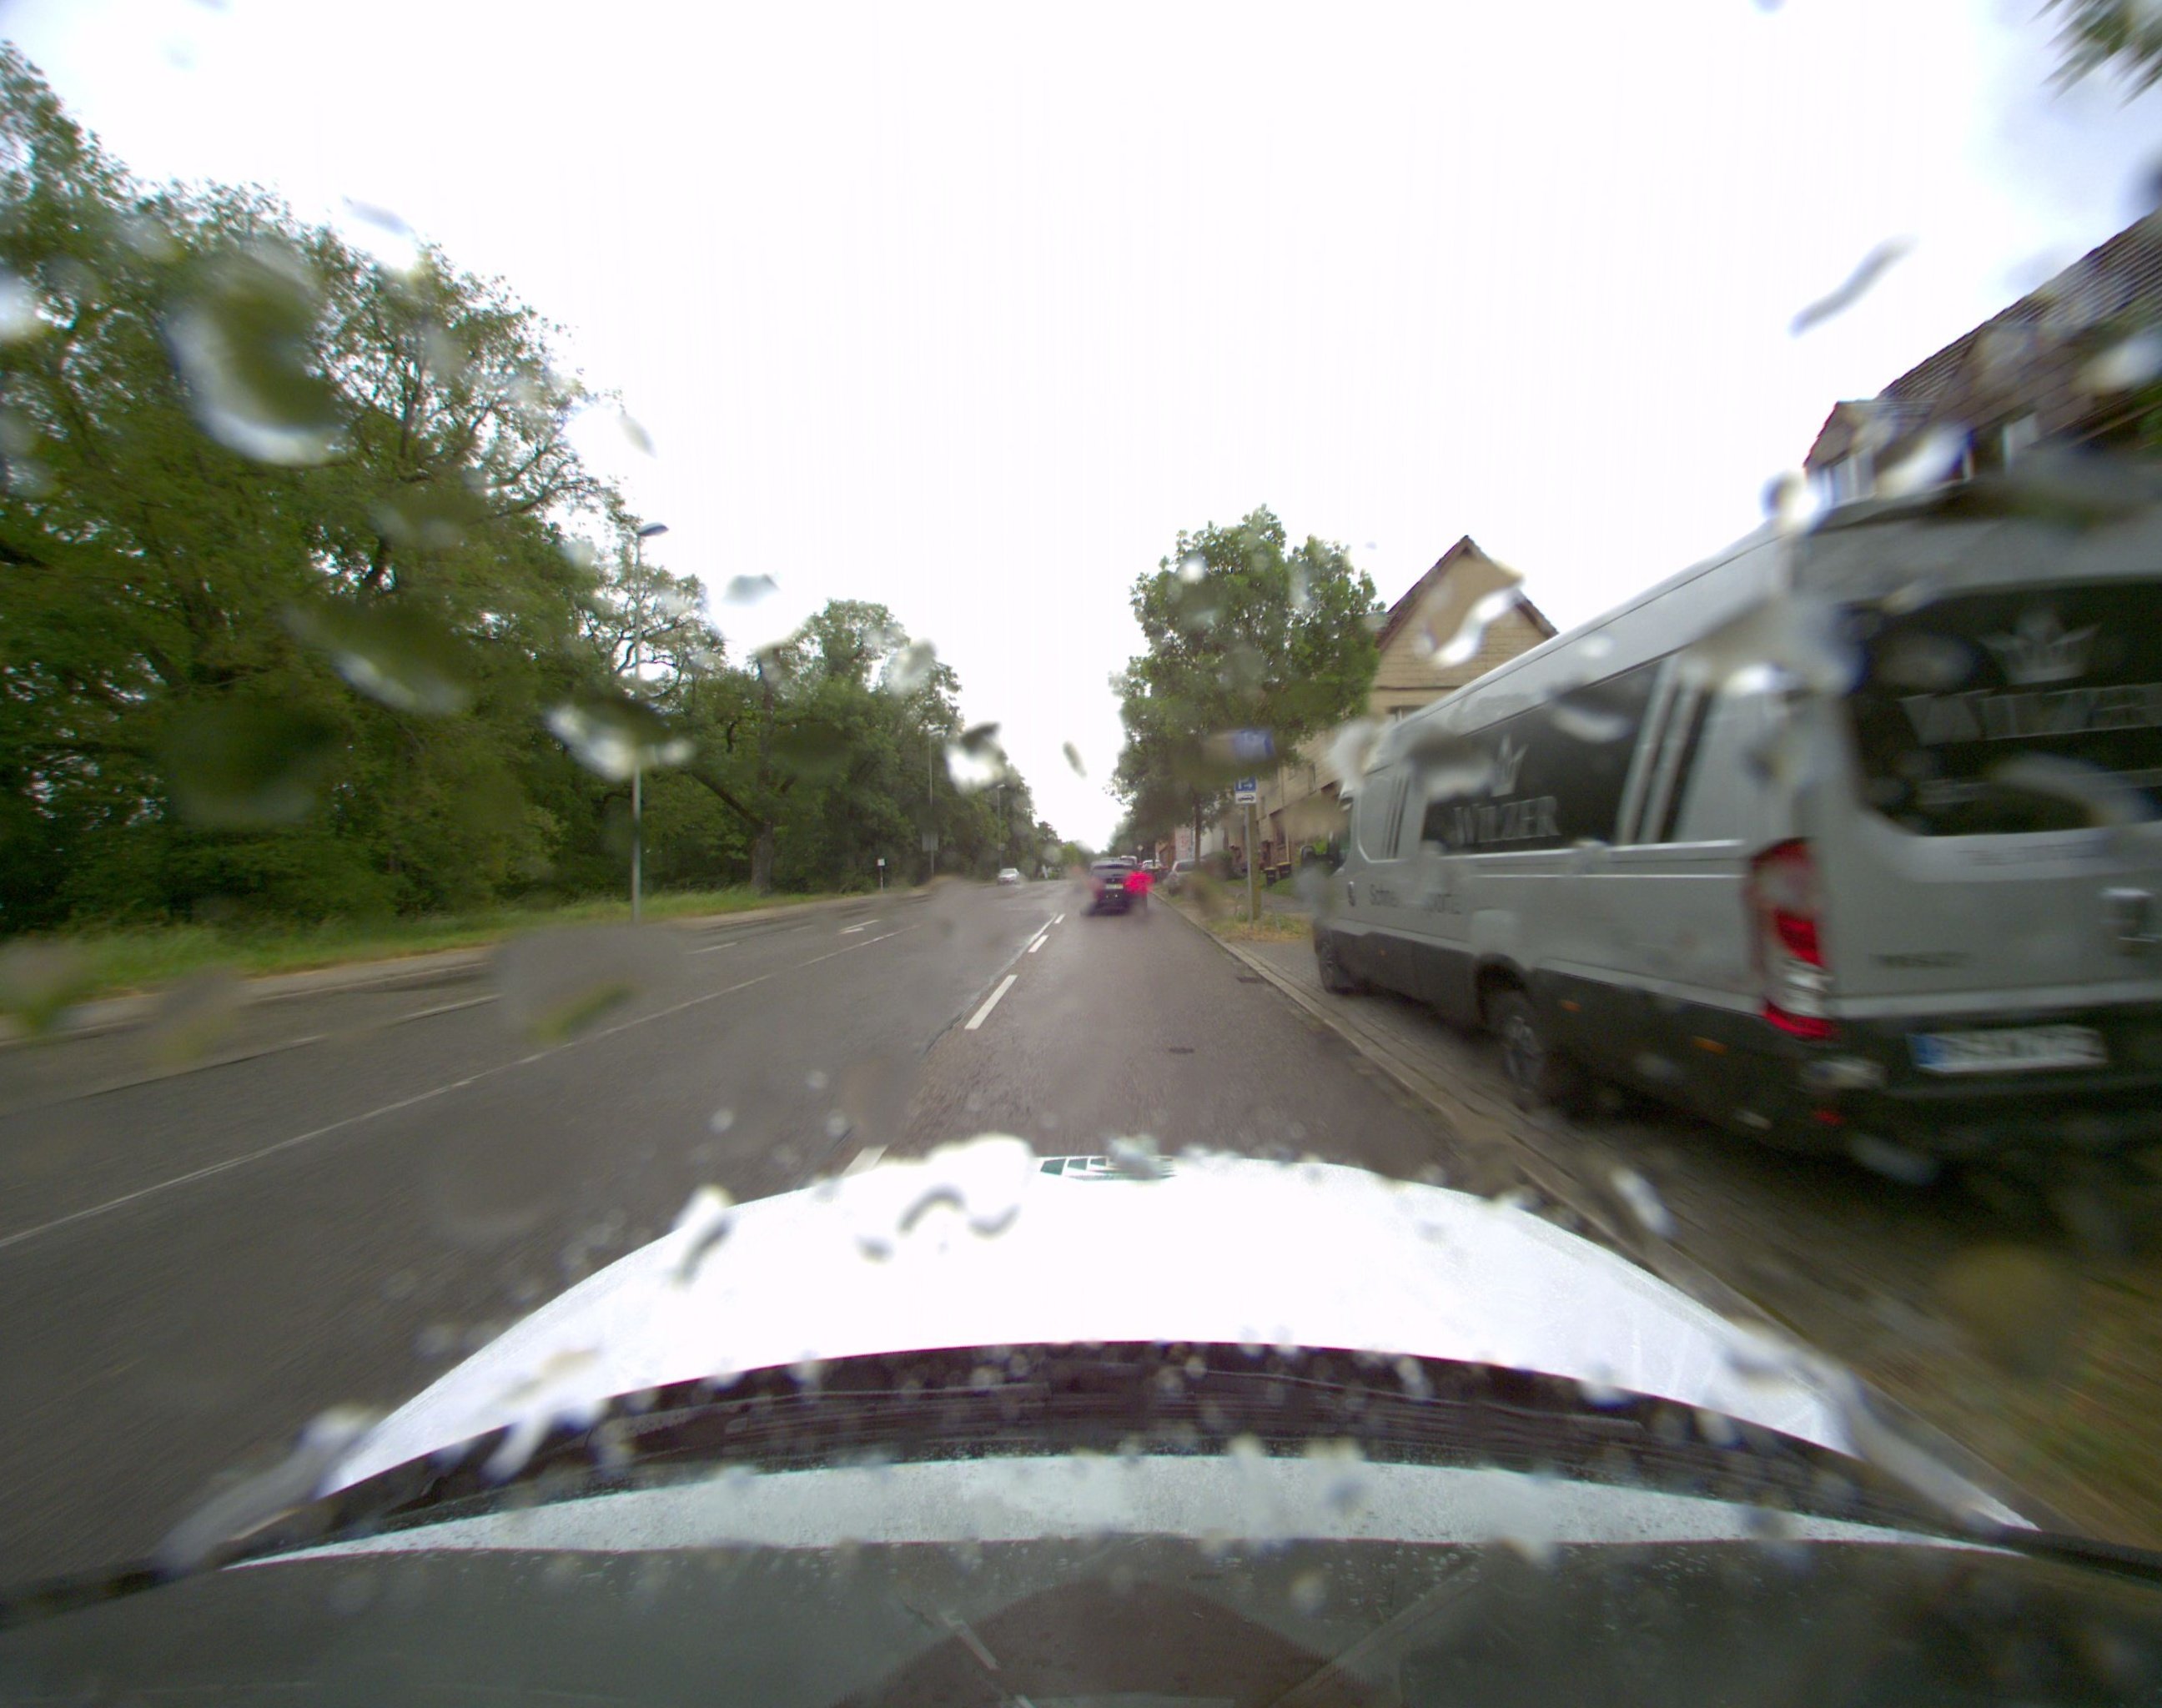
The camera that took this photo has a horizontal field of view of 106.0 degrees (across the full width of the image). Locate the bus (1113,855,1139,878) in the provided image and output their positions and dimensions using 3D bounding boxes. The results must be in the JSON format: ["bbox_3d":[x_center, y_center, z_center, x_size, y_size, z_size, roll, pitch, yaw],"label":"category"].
[{"bbox_3d":[6.019,1.656,108.365,2.608,2.847,8.306,-3,-1,8],"label":"bus"}]

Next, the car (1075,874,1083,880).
[{"bbox_3d":[-0.501,6.130,218.341,1.763,1.533,4.002,-3,-1,2],"label":"car"}]

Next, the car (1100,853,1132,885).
[{"bbox_3d":[2.317,0.973,53.728,1.986,2.014,4.002,-1,-1,2],"label":"car"}]

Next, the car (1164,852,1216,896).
[{"bbox_3d":[4.514,0.770,34.253,1.695,1.584,4.646,-5,0,3],"label":"car"}]

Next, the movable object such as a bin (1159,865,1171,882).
[{"bbox_3d":[5.596,1.305,54.125,0.617,1.050,0.822,-4,-1,-1],"label":"movable object such as a bin"}]

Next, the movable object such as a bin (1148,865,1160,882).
[{"bbox_3d":[4.869,1.309,54.161,0.617,1.050,0.822,-4,-1,-1],"label":"movable object such as a bin"}]

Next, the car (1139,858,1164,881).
[{"bbox_3d":[5.632,1.237,65.604,1.816,1.772,4.544,-3,-1,3],"label":"car"}]

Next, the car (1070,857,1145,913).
[{"bbox_3d":[0.777,0.861,23.828,1.986,1.453,4.001,1,-1,2],"label":"car"}]

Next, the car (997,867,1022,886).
[{"bbox_3d":[-6.277,1.933,71.630,1.684,1.483,4.452,-4,-1,1],"label":"car"}]

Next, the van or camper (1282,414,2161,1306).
[{"bbox_3d":[3.431,-0.008,6.117,2.189,2.651,7.305,-3,0,2],"label":"van or camper"}]

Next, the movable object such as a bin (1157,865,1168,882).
[{"bbox_3d":[5.513,1.309,55.051,0.617,1.050,0.822,-4,-1,-1],"label":"movable object such as a bin"}]

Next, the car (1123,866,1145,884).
[{"bbox_3d":[6.332,2.535,96.862,1.915,1.892,4.774,-5,-3,10],"label":"car"}]

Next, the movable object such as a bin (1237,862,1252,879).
[{"bbox_3d":[9.084,0.910,45.270,0.697,0.965,0.942,0,0,2],"label":"movable object such as a bin"}]

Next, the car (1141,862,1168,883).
[{"bbox_3d":[5.398,1.361,59.859,1.636,1.449,3.998,-2,-1,1],"label":"car"}]
